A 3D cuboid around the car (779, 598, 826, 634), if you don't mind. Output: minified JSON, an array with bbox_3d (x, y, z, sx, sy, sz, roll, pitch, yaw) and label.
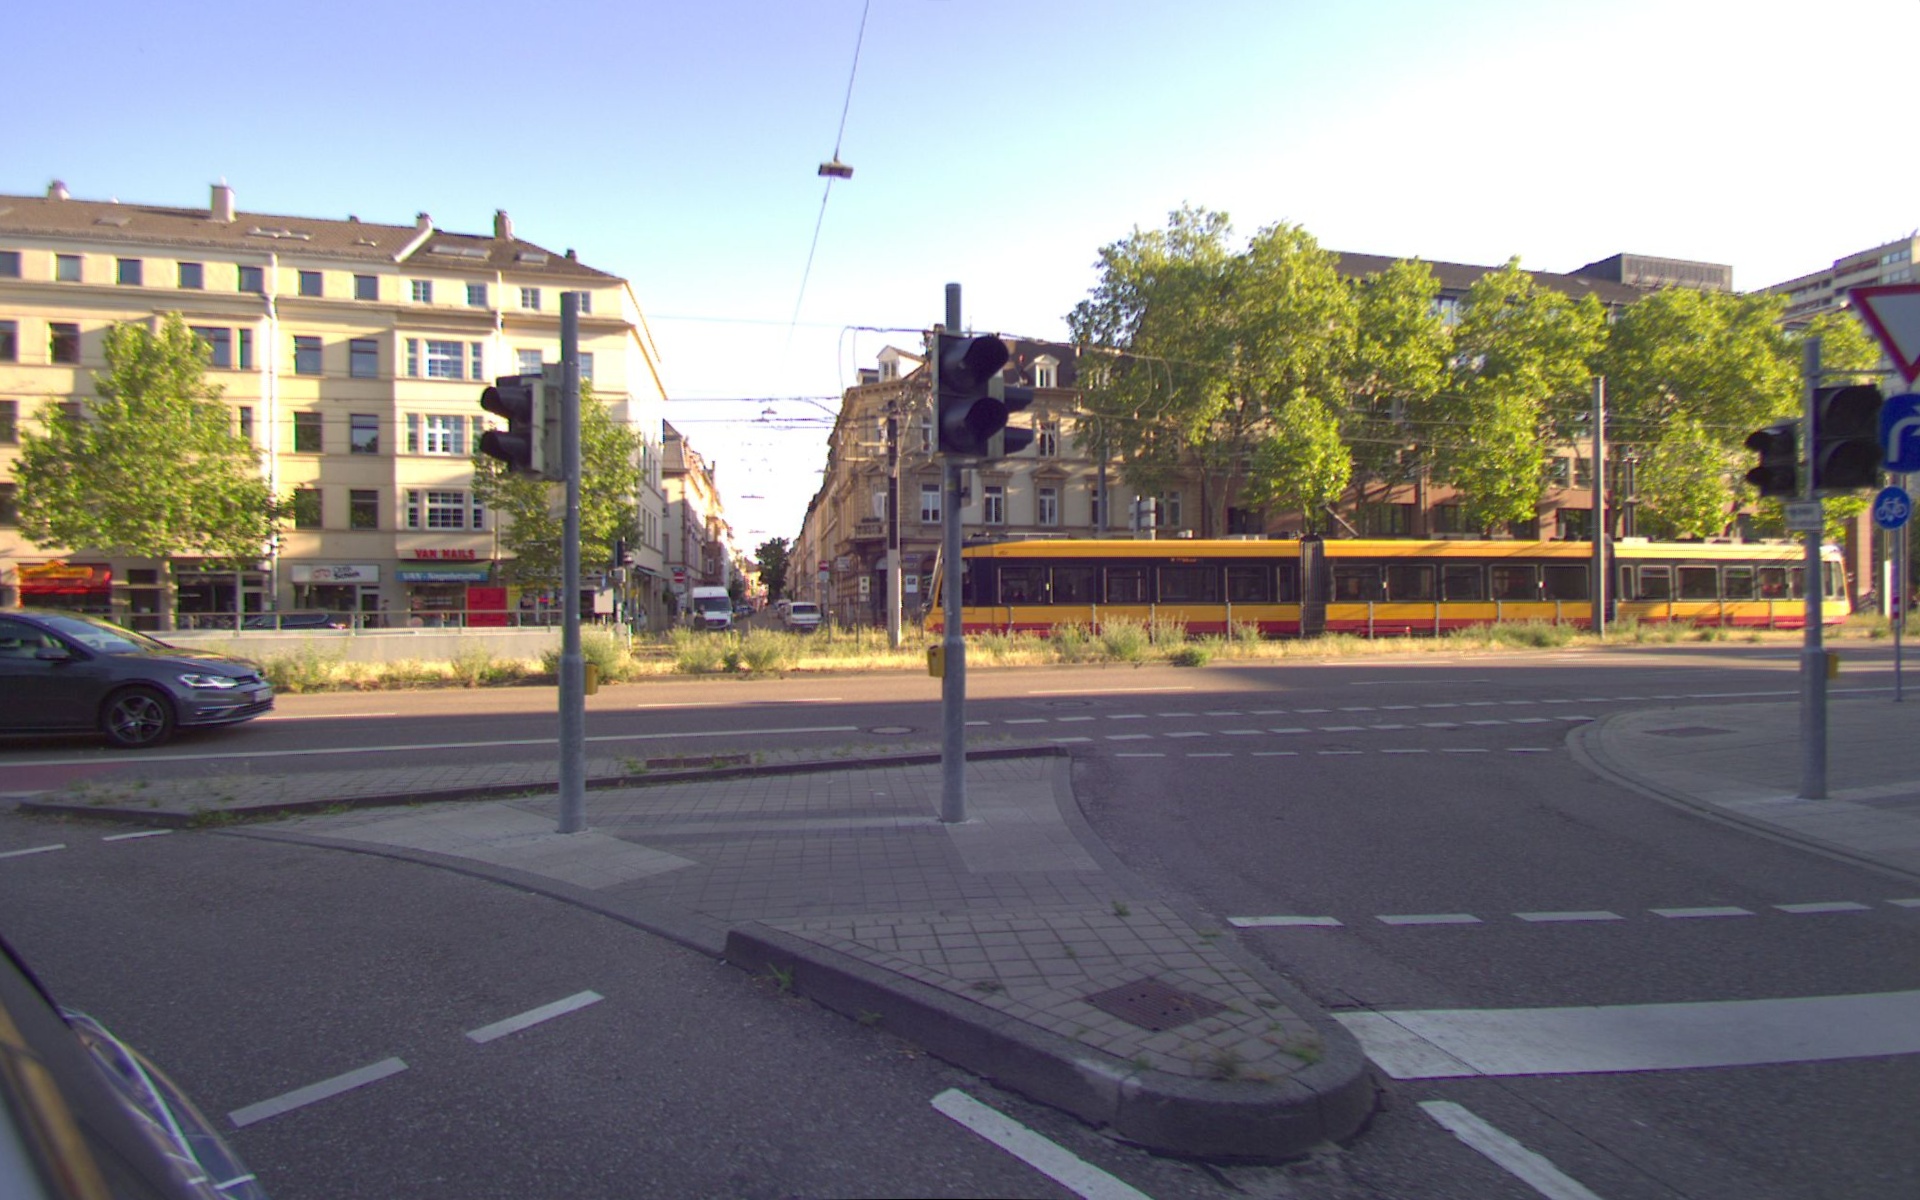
[{"bbox_3d":[-8.876,0.878,56.690,1.952,1.901,4.712,0,-1,-16],"label":"car"}]

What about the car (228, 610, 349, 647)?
[{"bbox_3d":[-26.059,1.085,39.386,3.648,1.342,1.463,0,1,-14],"label":"car"}]

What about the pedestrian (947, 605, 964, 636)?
[{"bbox_3d":[-0.217,1.069,52.137,0.679,1.574,0.708,0,-1,-18],"label":"pedestrian"}]

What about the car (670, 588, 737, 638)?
[{"bbox_3d":[-12.677,0.636,49.716,2.427,2.284,7.314,0,-1,-20],"label":"car"}]

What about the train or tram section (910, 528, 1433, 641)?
[{"bbox_3d":[7.022,-0.533,34.373,17.206,3.586,3.127,0,-1,-6],"label":"train or tram section"}]

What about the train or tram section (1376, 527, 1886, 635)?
[{"bbox_3d":[24.994,-0.672,37.422,19.598,3.586,3.130,0,-1,-13],"label":"train or tram section"}]

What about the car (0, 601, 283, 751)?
[{"bbox_3d":[-9.912,0.768,10.748,4.172,1.437,1.776,-1,1,-17],"label":"car"}]

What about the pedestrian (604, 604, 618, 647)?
[{"bbox_3d":[-16.050,1.172,46.564,0.576,1.933,0.634,0,1,-13],"label":"pedestrian"}]
